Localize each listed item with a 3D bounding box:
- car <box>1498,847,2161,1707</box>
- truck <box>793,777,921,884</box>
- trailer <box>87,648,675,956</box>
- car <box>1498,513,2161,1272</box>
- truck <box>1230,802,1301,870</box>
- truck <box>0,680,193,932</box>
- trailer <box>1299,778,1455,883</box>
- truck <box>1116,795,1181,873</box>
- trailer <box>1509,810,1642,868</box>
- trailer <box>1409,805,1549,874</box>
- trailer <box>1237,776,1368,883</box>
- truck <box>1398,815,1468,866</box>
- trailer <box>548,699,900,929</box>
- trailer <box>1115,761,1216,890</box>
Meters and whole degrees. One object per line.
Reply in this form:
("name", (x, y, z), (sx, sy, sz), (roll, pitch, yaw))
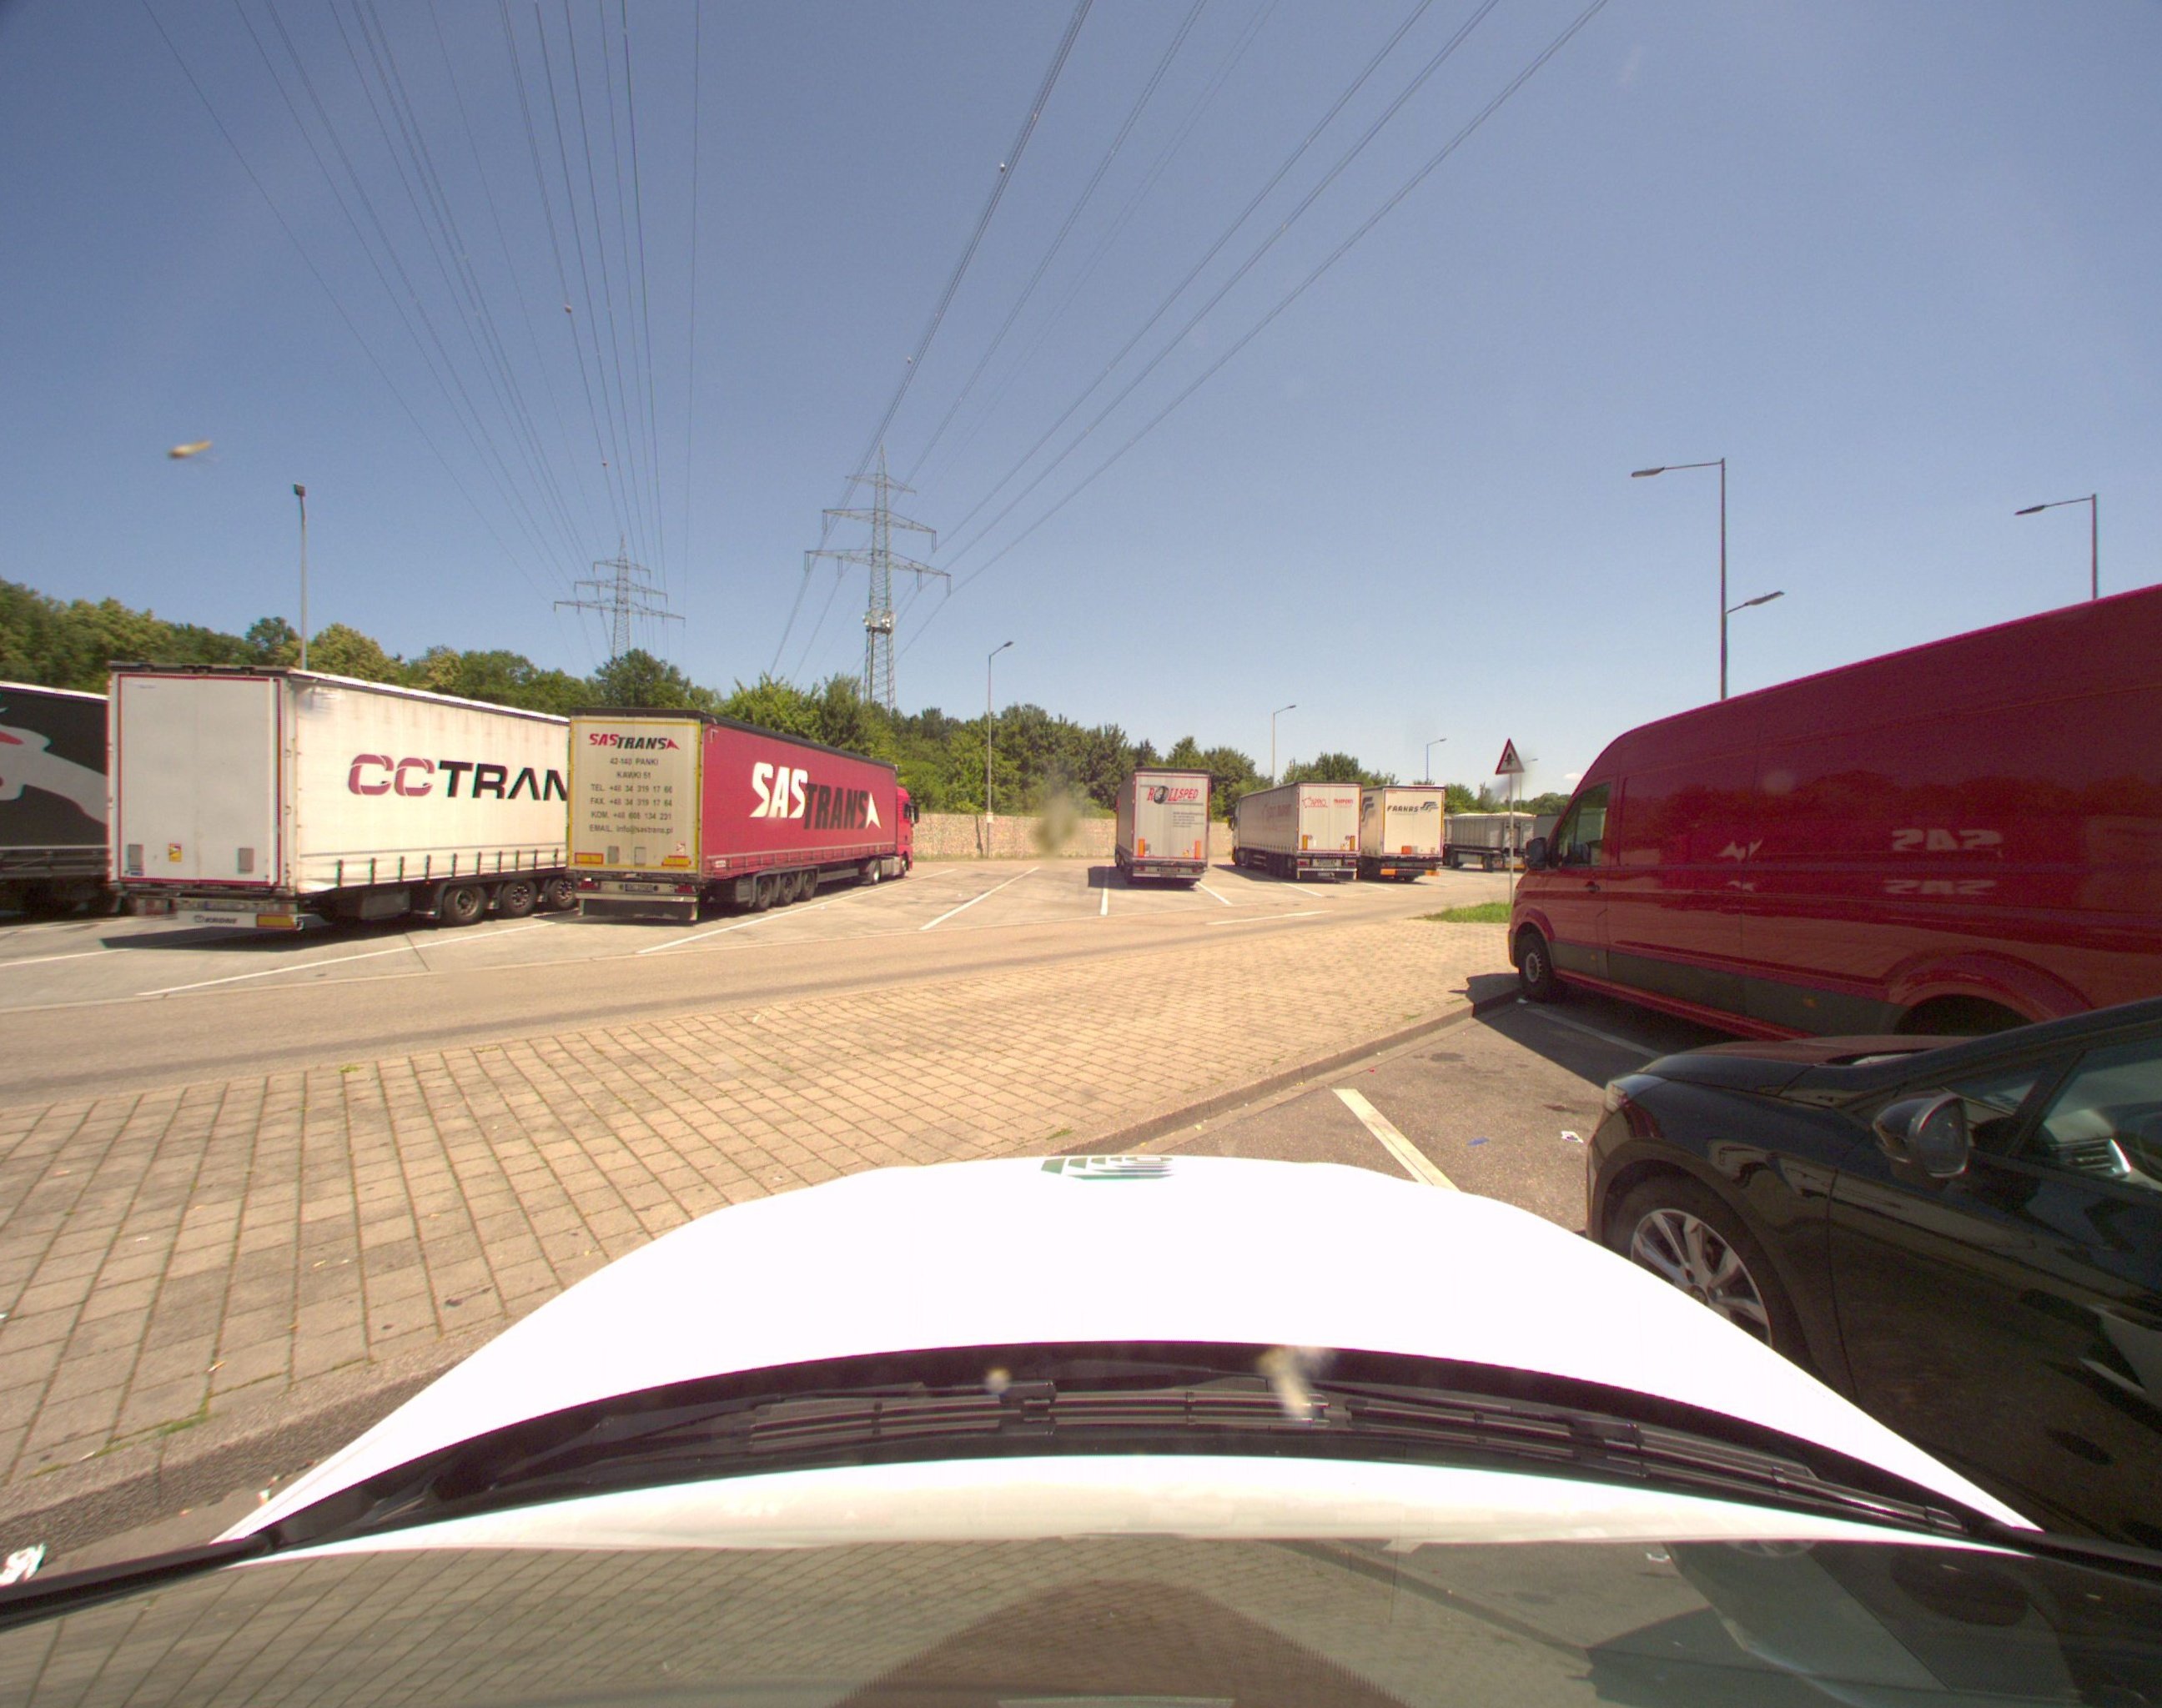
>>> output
("car", (2.526, 0.753, 1.189), (1.733, 1.482, 3.813), (-1, 1, -3))
("truck", (-7.791, -0.837, 29.104), (2.841, 3.427, 5.486), (1, 1, 2))
("trailer", (-12.195, -0.893, 16.339), (2.718, 4.209, 10.175), (1, 2, 2))
("car", (5.170, 0.088, 5.499), (2.055, 2.695, 6.405), (-1, 1, 6))
("truck", (10.173, -1.023, 45.444), (2.841, 3.483, 5.486), (1, 1, 2))
("truck", (-18.571, -0.808, 13.574), (2.692, 4.016, 4.326), (1, 2, 2))
("trailer", (13.621, -1.115, 39.296), (2.828, 4.132, 13.730), (1, 2, 2))
("truck", (3.178, -0.986, 39.919), (2.841, 3.483, 5.486), (1, 1, 2))
("trailer", (38.385, -1.221, 64.146), (2.826, 4.049, 13.737), (1, 2, 3))
("trailer", (24.542, -0.991, 51.462), (2.826, 3.717, 13.737), (1, 2, 3))
("trailer", (9.965, -1.149, 38.633), (2.828, 4.132, 13.730), (1, 2, 2))
("truck", (24.931, -0.999, 57.961), (2.840, 3.364, 5.488), (1, 1, 3))
("trailer", (-8.030, -0.956, 21.667), (2.896, 4.131, 13.731), (1, 2, 2))
("trailer", (3.034, -1.100, 33.306), (2.896, 4.132, 13.727), (1, 2, 1))
